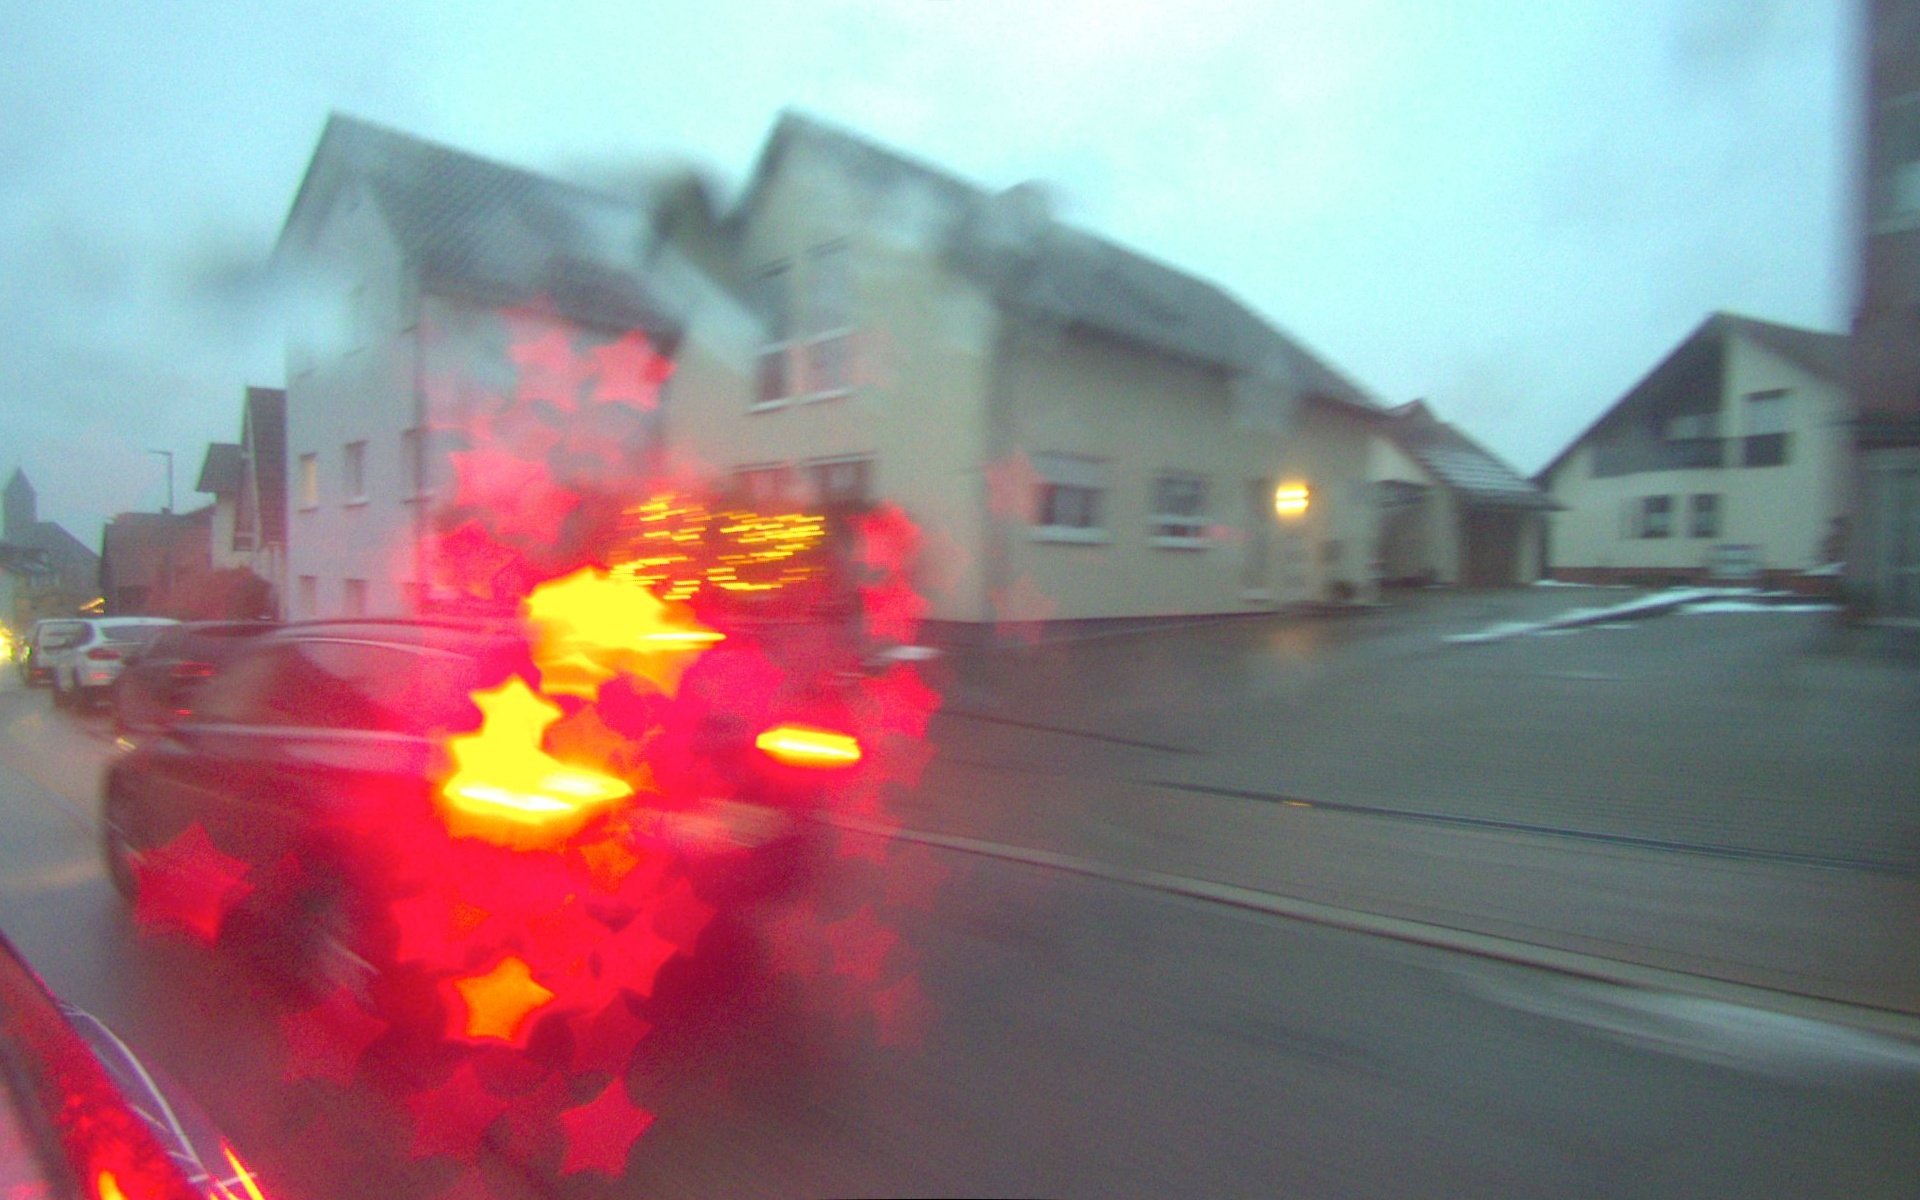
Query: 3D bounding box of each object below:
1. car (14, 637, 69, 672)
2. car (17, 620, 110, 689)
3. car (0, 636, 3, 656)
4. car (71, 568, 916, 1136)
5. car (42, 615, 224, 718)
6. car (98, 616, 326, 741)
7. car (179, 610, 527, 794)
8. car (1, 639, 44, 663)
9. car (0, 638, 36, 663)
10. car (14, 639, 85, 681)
[{"bbox_3d":[-42.822,2.501,47.173,1.742,1.564,4.003,2,-3,-44],"label":"car"},{"bbox_3d":[-25.343,1.500,28.561,1.751,1.806,4.131,1,-3,-44],"label":"car"},{"bbox_3d":[-86.394,4.099,89.756,1.766,1.787,3.897,1,-2,-37],"label":"car"},{"bbox_3d":[-2.439,0.722,4.739,4.372,1.507,1.757,-1,-2,37],"label":"car"},{"bbox_3d":[-14.988,1.113,18.254,4.422,1.636,1.897,-2,-2,42],"label":"car"},{"bbox_3d":[-10.206,0.958,13.701,4.034,1.447,1.715,-2,-2,42],"label":"car"},{"bbox_3d":[-6.257,0.863,10.198,4.437,1.455,1.716,-2,-1,41],"label":"car"},{"bbox_3d":[-58.586,3.179,63.257,3.731,1.422,1.697,-2,-2,43],"label":"car"},{"bbox_3d":[-67.294,3.591,72.229,3.731,1.638,1.697,-2,-2,43],"label":"car"},{"bbox_3d":[-34.531,2.233,38.358,1.804,1.477,4.002,2,-3,-44],"label":"car"}]
